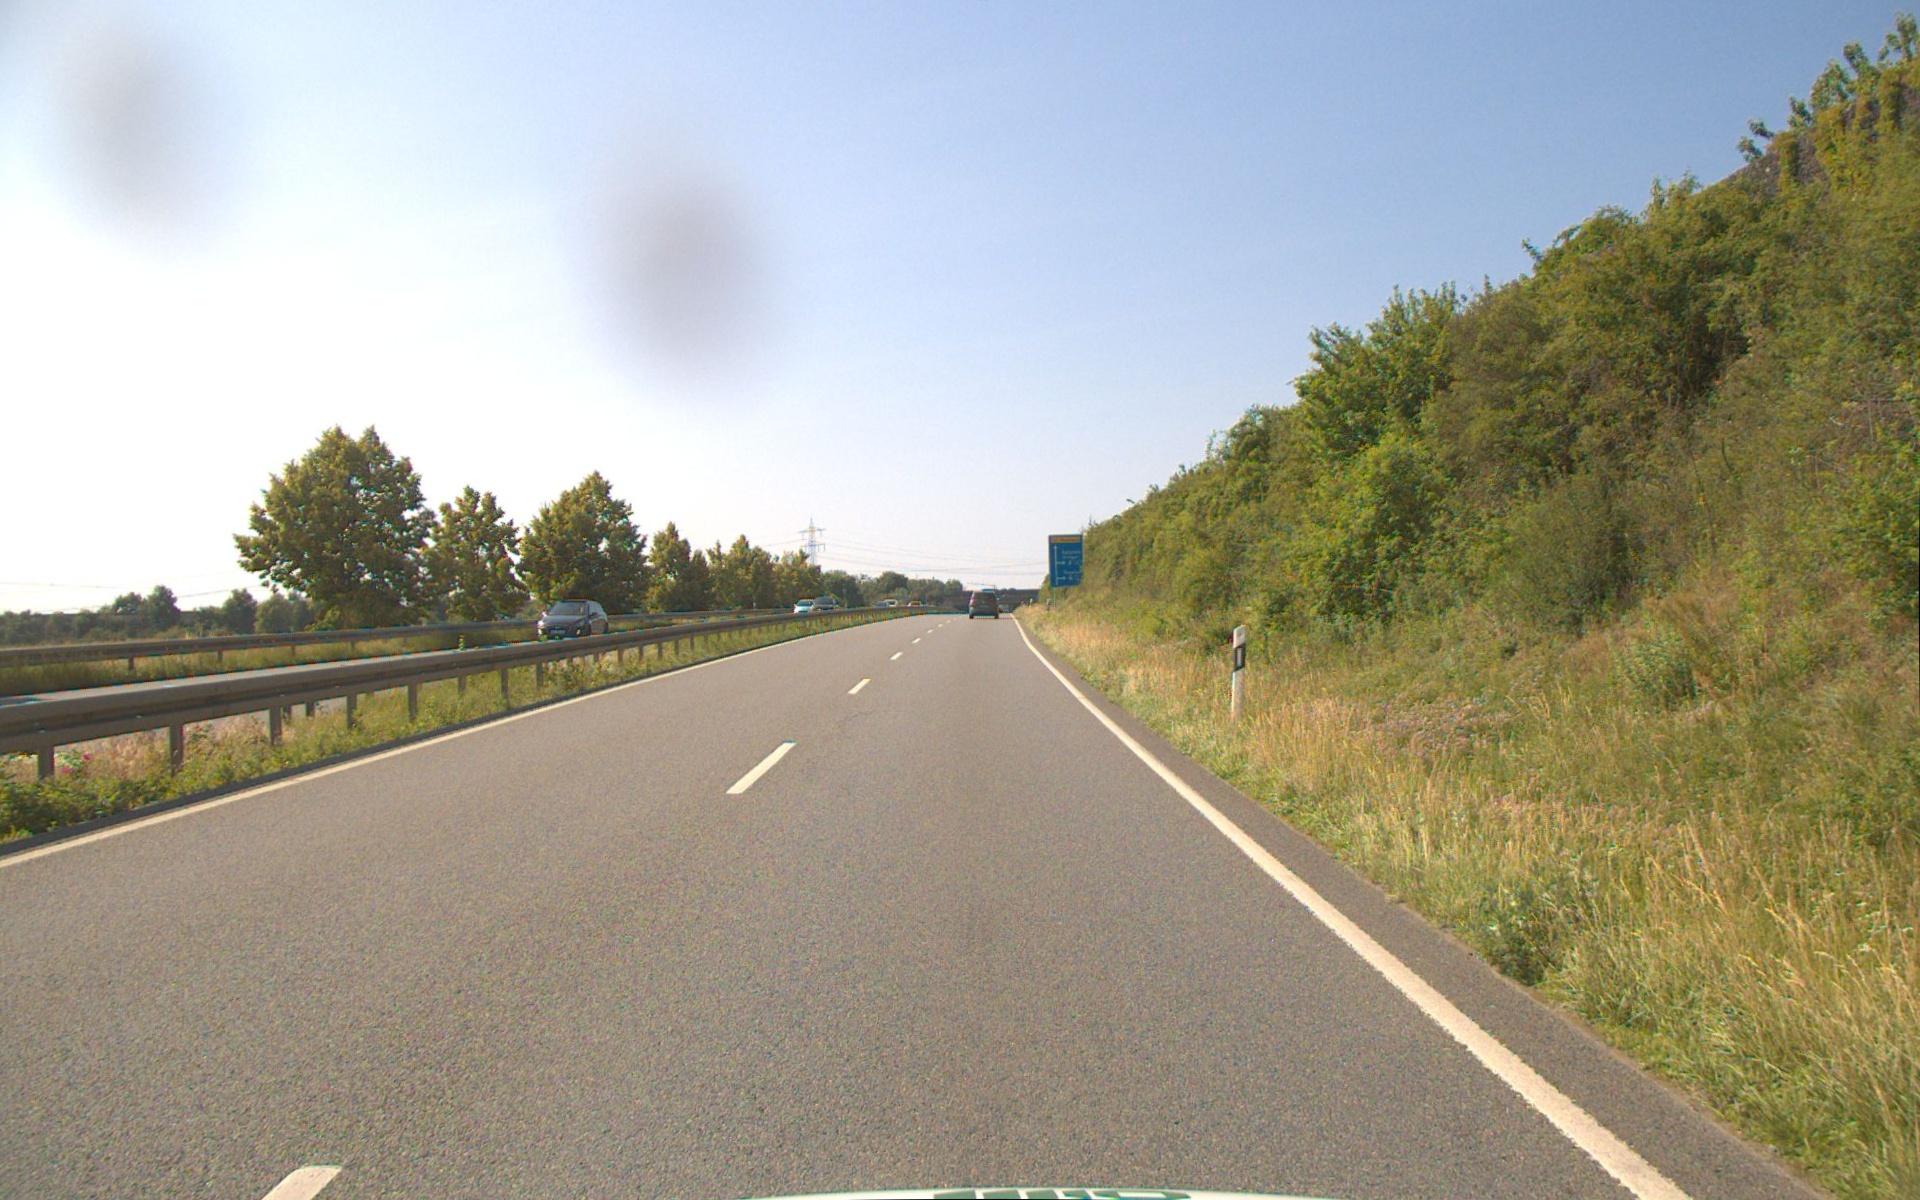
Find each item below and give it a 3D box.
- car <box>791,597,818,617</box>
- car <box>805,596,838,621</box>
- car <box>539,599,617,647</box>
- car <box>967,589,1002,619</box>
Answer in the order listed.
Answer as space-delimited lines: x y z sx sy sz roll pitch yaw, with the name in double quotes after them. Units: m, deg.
-12.156 0.530 129.416 1.655 1.462 3.940 0 0 1 "car"
-9.289 0.564 110.924 1.655 1.568 4.245 0 0 2 "car"
-13.600 0.787 59.148 1.618 1.580 4.561 1 0 1 "car"
1.510 0.256 99.200 1.811 1.673 4.002 -1 -1 4 "car"
